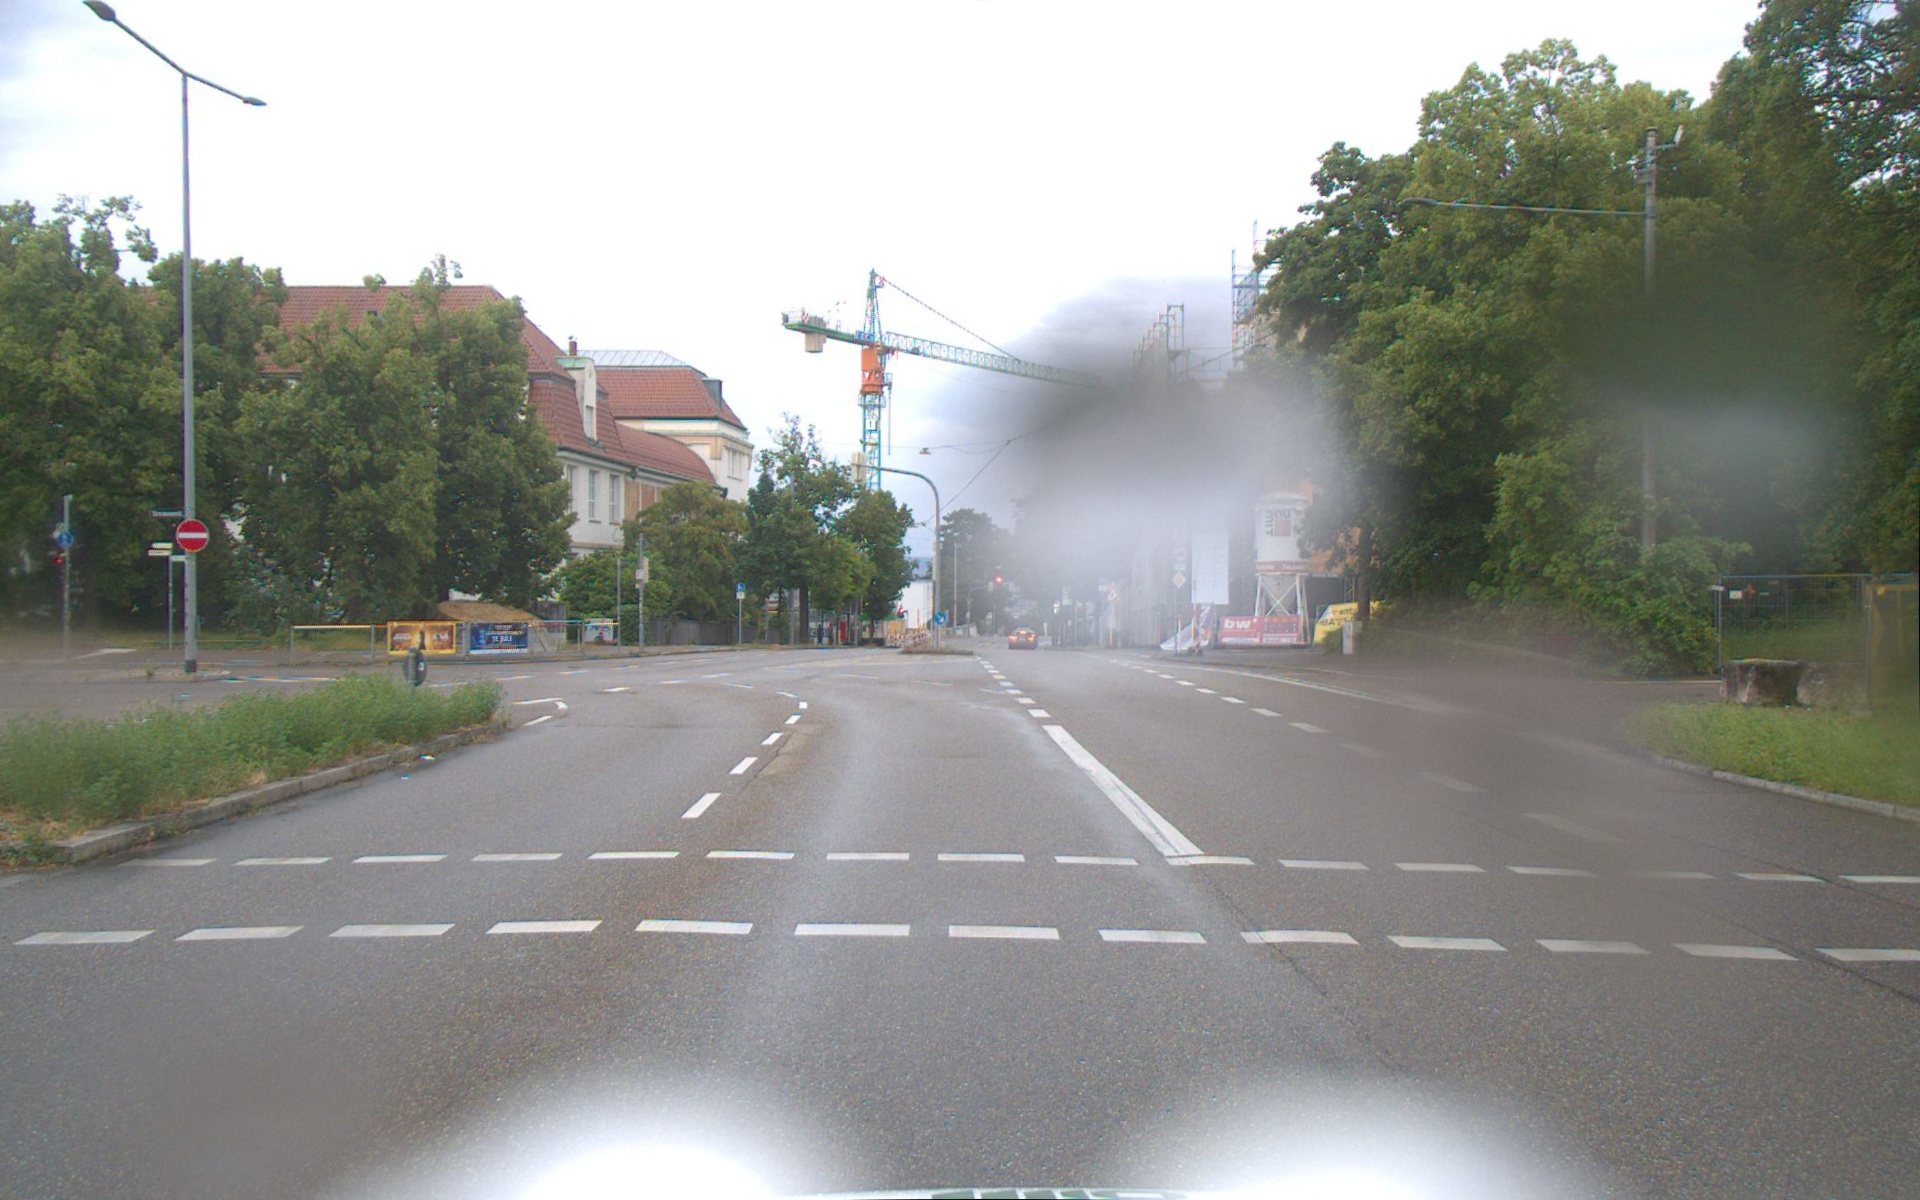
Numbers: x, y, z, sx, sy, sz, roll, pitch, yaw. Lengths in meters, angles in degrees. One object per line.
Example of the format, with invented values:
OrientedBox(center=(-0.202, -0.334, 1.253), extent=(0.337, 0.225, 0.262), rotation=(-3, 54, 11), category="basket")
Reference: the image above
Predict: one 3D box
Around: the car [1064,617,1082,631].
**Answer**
OrientedBox(center=(15.012, 3.113, 219.504), extent=(1.951, 1.780, 4.003), rotation=(-1, 0, 10), category="car")

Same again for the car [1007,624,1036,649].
OrientedBox(center=(4.613, 2.720, 125.085), extent=(1.953, 1.780, 3.999), rotation=(-1, 0, -1), category="car")

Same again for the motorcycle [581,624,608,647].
OrientedBox(center=(-14.263, 1.389, 64.564), extent=(0.832, 0.893, 0.877), rotation=(1, 0, -1), category="motorcycle")

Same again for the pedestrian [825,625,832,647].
OrientedBox(center=(-9.902, 2.696, 124.436), extent=(0.484, 1.674, 0.533), rotation=(1, -1, -7), category="pedestrian")

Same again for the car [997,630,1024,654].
OrientedBox(center=(4.032, 3.317, 131.869), extent=(1.953, 1.780, 3.999), rotation=(-1, 0, -1), category="car")

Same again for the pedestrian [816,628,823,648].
OrientedBox(center=(-10.581, 2.856, 124.392), extent=(0.465, 1.421, 0.411), rotation=(-1, 0, -1), category="pedestrian")
